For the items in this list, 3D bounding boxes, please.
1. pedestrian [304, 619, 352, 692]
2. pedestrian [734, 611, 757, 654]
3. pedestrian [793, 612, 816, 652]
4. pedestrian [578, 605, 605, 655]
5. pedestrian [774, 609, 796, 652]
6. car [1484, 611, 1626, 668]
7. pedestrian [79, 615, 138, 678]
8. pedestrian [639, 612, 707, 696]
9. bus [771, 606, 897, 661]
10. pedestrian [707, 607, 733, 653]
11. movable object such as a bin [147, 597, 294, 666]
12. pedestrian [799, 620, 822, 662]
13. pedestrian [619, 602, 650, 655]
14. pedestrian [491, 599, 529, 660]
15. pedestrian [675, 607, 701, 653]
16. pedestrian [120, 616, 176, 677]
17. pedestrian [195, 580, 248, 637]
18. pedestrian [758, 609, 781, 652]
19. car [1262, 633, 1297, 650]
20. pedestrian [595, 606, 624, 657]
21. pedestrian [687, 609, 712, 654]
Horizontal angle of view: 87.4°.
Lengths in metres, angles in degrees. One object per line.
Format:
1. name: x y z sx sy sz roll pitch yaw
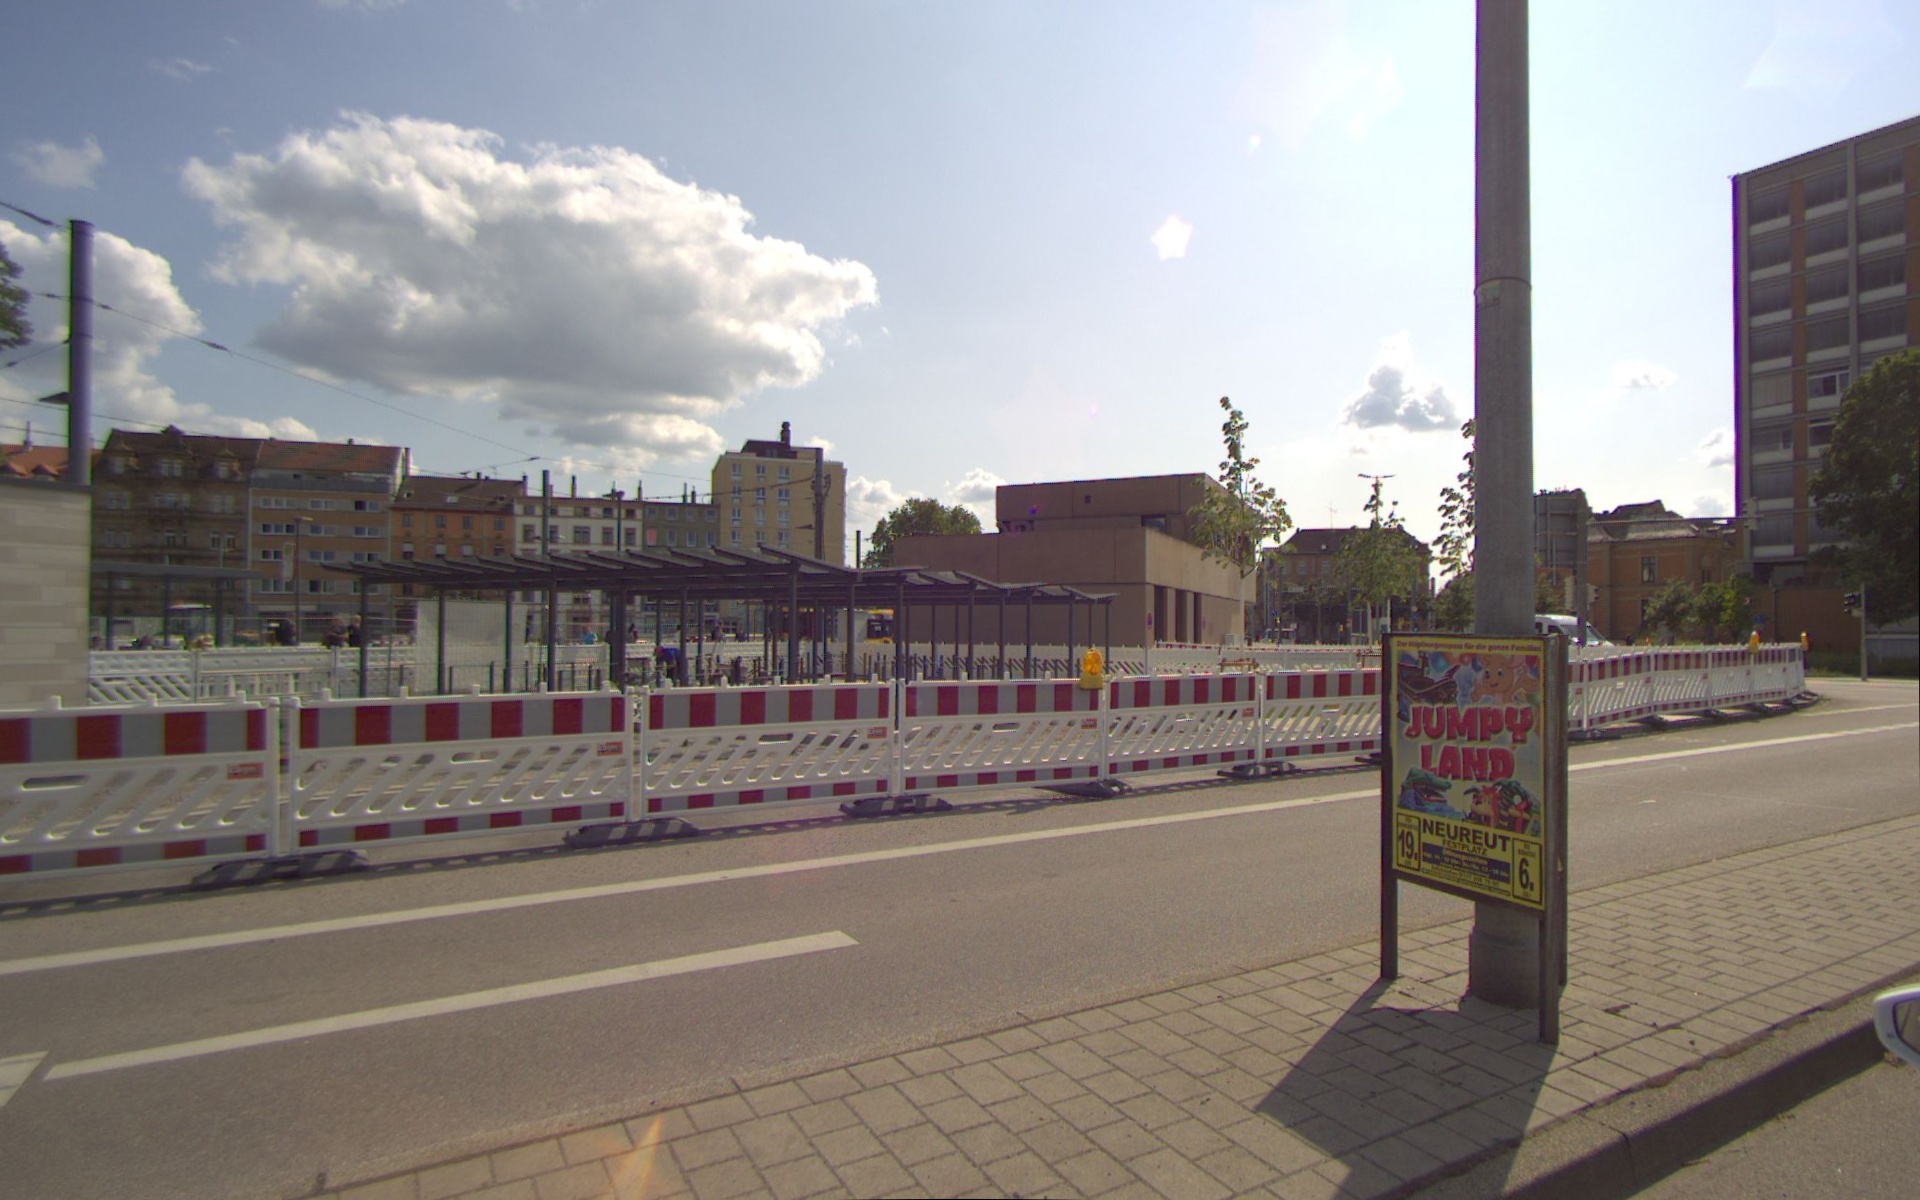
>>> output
1. pedestrian: -17.985 1.558 28.582 0.926 2.040 0.730 0 -2 27
2. pedestrian: -10.407 1.587 48.751 0.925 2.040 0.731 1 -1 0
3. pedestrian: -7.979 1.628 51.621 0.924 2.040 0.731 1 -1 14
4. pedestrian: -15.458 1.264 42.154 0.928 2.040 0.728 1 -1 -17
5. pedestrian: -8.455 1.485 48.556 0.925 2.040 0.731 1 -1 0
6. car: 26.143 1.742 44.416 2.261 2.349 5.579 0 -2 -11
7. pedestrian: -20.111 1.086 23.721 0.926 1.450 0.730 0 -2 27
8. pedestrian: -6.442 1.200 22.569 0.918 1.813 1.179 0 -2 20
9. bus: -7.321 2.023 60.549 2.384 3.022 10.537 -1 -2 24
10. pedestrian: -10.787 1.341 45.141 0.925 2.040 0.731 1 -1 0
11. movable object such as a bin: -29.600 1.289 40.339 2.602 2.608 3.995 -1 -2 27
12. pedestrian: -7.547 2.067 50.704 0.924 2.040 0.731 1 -1 14
13. pedestrian: -12.748 1.129 39.340 0.925 2.040 0.731 1 -1 0
14. pedestrian: -15.480 1.010 34.551 0.925 2.040 0.731 1 -1 0
15. pedestrian: -12.243 1.350 45.264 0.925 2.040 0.731 1 -1 0
16. pedestrian: -19.762 1.117 24.453 0.926 1.450 0.730 0 -2 27
17. pedestrian: -19.133 0.233 26.020 0.926 1.450 0.730 0 -2 27
18. pedestrian: -9.063 1.451 47.799 0.925 2.040 0.731 1 -1 0
19. car: 32.802 4.304 103.356 2.016 1.713 3.731 0 -2 -8
20. pedestrian: -14.345 1.289 41.158 0.926 2.040 0.731 1 -1 -5
21. pedestrian: -12.004 1.445 46.252 0.925 2.040 0.731 1 -1 0
